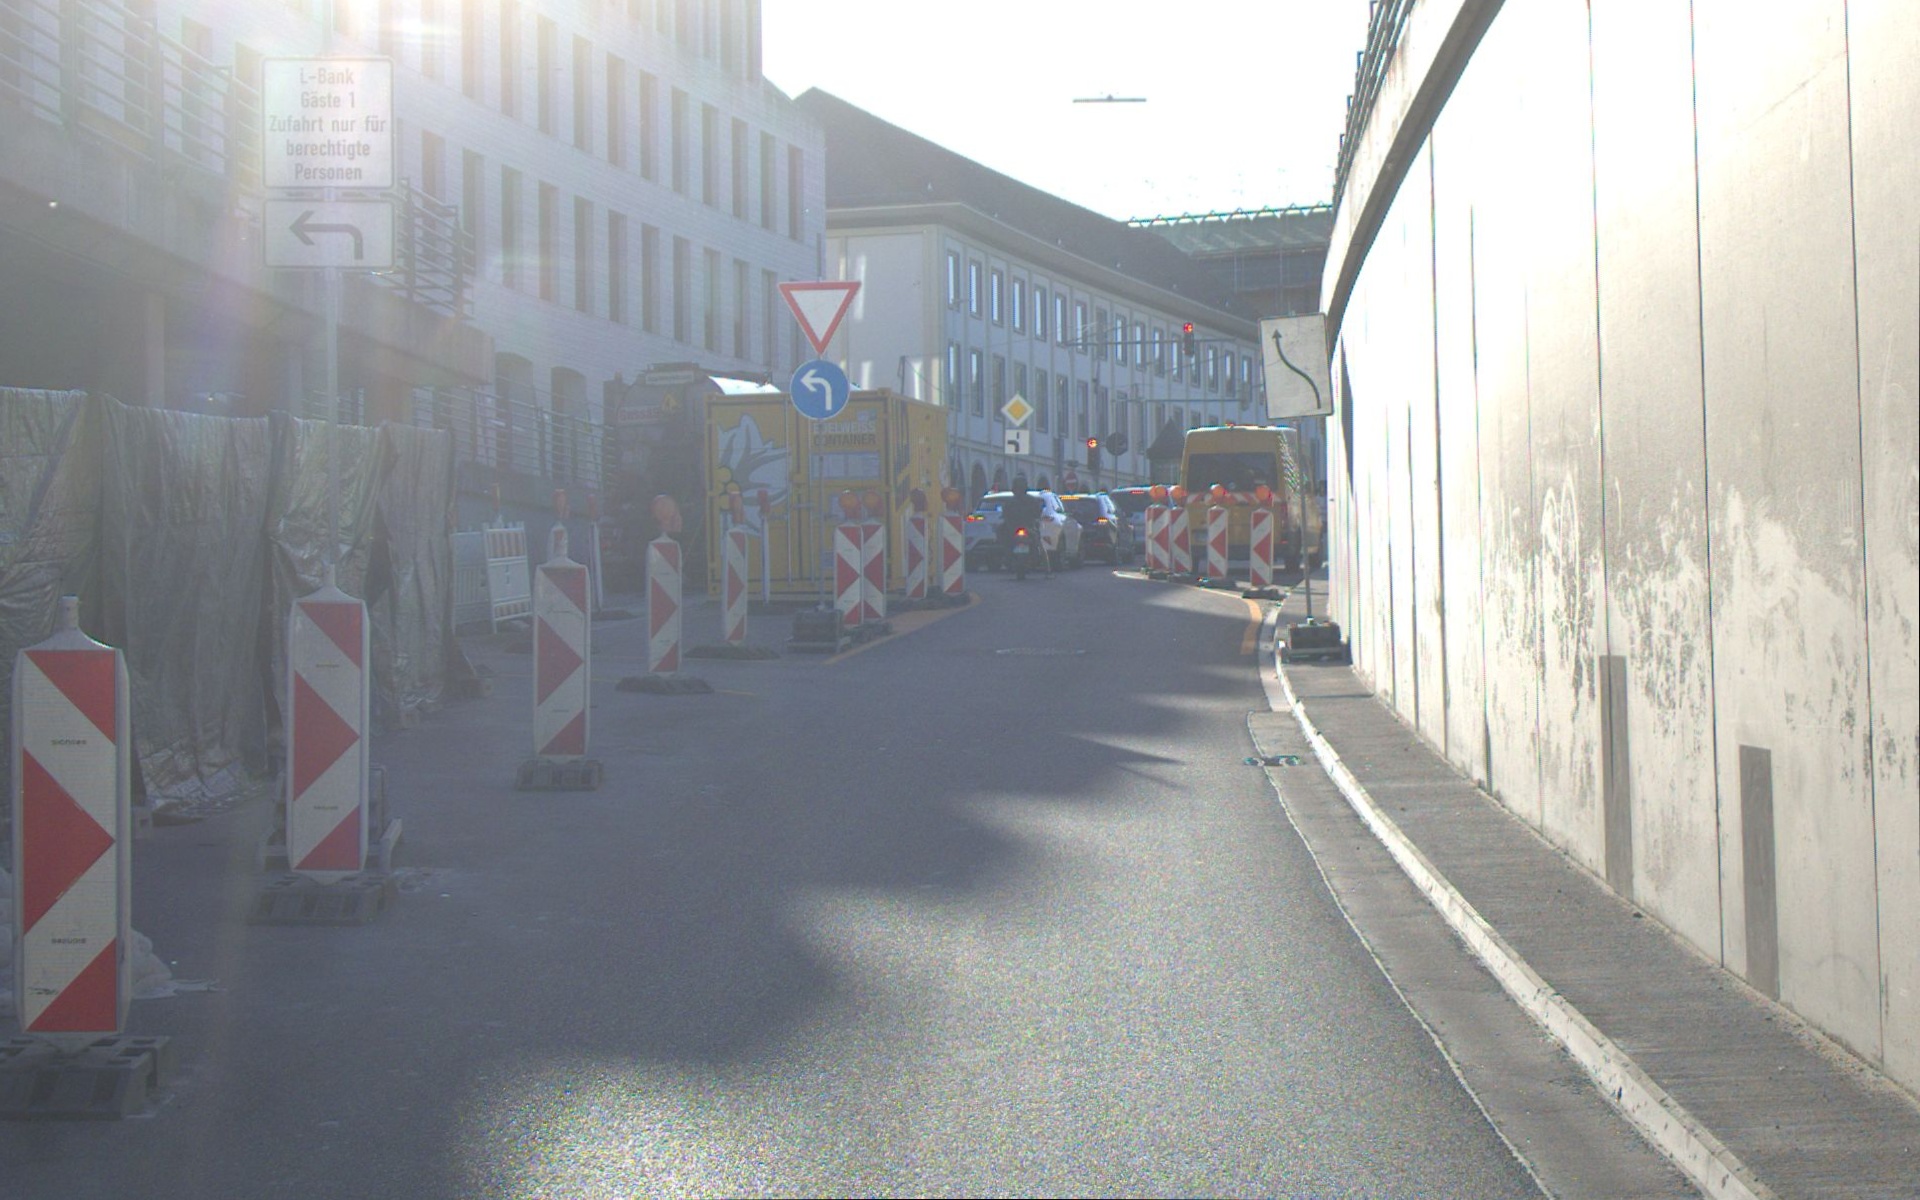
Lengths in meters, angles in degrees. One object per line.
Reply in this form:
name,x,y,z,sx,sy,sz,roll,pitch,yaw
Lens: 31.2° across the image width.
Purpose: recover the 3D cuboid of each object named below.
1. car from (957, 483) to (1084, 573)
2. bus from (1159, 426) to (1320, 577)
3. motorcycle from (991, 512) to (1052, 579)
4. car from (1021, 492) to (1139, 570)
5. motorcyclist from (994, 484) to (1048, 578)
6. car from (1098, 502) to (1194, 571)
car,1.152,-1.313,63.396,1.776,1.599,3.998,0,1,9
bus,4.943,-1.710,60.243,2.226,2.548,4.425,0,1,13
motorcycle,1.019,-0.884,56.654,0.771,0.989,2.183,0,-2,7
car,2.463,-1.389,69.743,1.821,1.528,3.998,1,1,10
motorcyclist,1.009,-1.134,56.627,0.804,1.499,0.776,0,-2,8
car,4.277,-1.431,78.540,1.857,1.528,3.999,0,1,8
